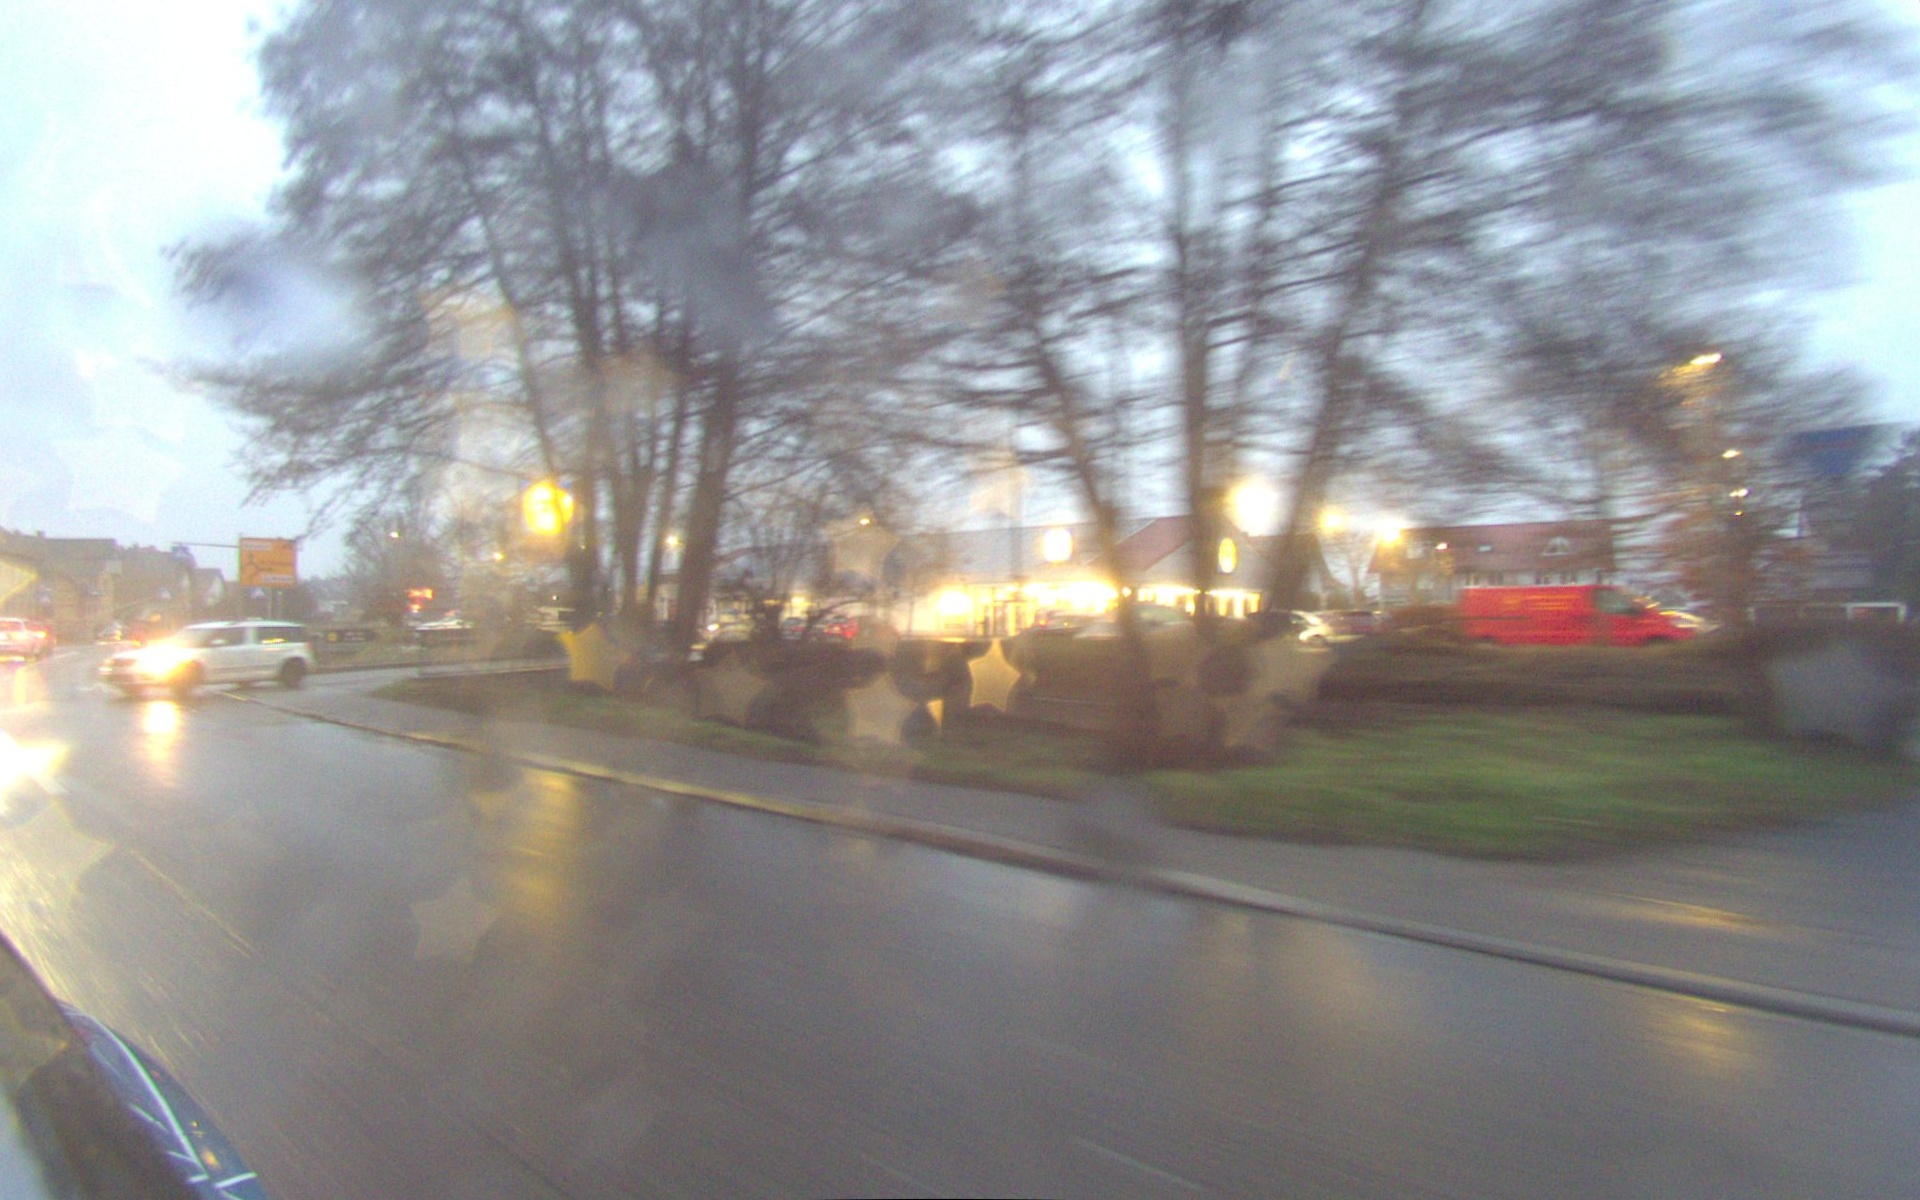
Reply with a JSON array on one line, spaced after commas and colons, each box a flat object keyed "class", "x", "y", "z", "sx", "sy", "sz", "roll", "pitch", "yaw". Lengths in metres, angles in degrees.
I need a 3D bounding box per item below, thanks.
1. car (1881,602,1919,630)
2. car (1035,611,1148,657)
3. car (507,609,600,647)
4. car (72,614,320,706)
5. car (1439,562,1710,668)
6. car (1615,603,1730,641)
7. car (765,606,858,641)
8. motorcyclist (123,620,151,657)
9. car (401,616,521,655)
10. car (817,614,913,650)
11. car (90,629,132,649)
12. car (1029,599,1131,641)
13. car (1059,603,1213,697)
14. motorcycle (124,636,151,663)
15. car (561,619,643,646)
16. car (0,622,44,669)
[{"class": "car", "x": 48.590, "y": 0.809, "z": 50.764, "sx": 3.369, "sy": 1.342, "sz": 1.420, "roll": -1, "pitch": 2, "yaw": 38}, {"class": "car", "x": 5.197, "y": 1.363, "z": 40.246, "sx": 3.989, "sy": 1.629, "sz": 1.896, "roll": -3, "pitch": -1, "yaw": 34}, {"class": "car", "x": -25.874, "y": 1.804, "z": 64.581, "sx": 2.215, "sy": 2.300, "sz": 5.137, "roll": -3, "pitch": -3, "yaw": 37}, {"class": "car", "x": -17.489, "y": 1.316, "z": 23.440, "sx": 1.886, "sy": 1.712, "sz": 4.212, "roll": -2, "pitch": 1, "yaw": 20}, {"class": "car", "x": 14.745, "y": 0.403, "z": 24.463, "sx": 5.263, "sy": 2.296, "sz": 2.258, "roll": -3, "pitch": -1, "yaw": 39}, {"class": "car", "x": 35.966, "y": 1.122, "z": 51.140, "sx": 4.516, "sy": 1.652, "sz": 1.912, "roll": -3, "pitch": 0, "yaw": 41}, {"class": "car", "x": -7.212, "y": 1.197, "z": 49.461, "sx": 2.052, "sy": 1.575, "sz": 4.389, "roll": -3, "pitch": -3, "yaw": 37}, {"class": "motorcyclist", "x": -34.410, "y": 1.606, "z": 42.330, "sx": 0.854, "sy": 1.496, "sz": 0.911, "roll": -1, "pitch": 0, "yaw": -38}, {"class": "car", "x": -23.599, "y": 1.647, "z": 47.969, "sx": 2.029, "sy": 1.725, "sz": 4.727, "roll": -2, "pitch": -1, "yaw": 36}, {"class": "car", "x": -4.389, "y": 1.493, "z": 47.081, "sx": 2.052, "sy": 1.575, "sz": 4.389, "roll": -3, "pitch": -3, "yaw": 37}, {"class": "car", "x": -66.989, "y": 3.048, "z": 79.885, "sx": 1.747, "sy": 1.441, "sz": 3.808, "roll": -2, "pitch": -1, "yaw": -28}, {"class": "car", "x": 5.266, "y": 0.904, "z": 44.980, "sx": 4.365, "sy": 1.684, "sz": 1.966, "roll": -2, "pitch": -2, "yaw": 5}, {"class": "car", "x": 4.456, "y": 1.164, "z": 25.034, "sx": 2.121, "sy": 1.992, "sz": 4.611, "roll": -3, "pitch": 0, "yaw": 31}, {"class": "motorcycle", "x": -34.416, "y": 2.043, "z": 42.349, "sx": 0.854, "sy": 1.031, "sz": 2.113, "roll": -1, "pitch": 0, "yaw": -39}, {"class": "car", "x": -21.844, "y": 2.031, "z": 61.865, "sx": 2.052, "sy": 1.575, "sz": 4.389, "roll": -3, "pitch": -3, "yaw": 37}, {"class": "car", "x": -37.224, "y": 1.747, "z": 39.430, "sx": 1.748, "sy": 1.736, "sz": 4.432, "roll": 0, "pitch": -1, "yaw": -36}]
